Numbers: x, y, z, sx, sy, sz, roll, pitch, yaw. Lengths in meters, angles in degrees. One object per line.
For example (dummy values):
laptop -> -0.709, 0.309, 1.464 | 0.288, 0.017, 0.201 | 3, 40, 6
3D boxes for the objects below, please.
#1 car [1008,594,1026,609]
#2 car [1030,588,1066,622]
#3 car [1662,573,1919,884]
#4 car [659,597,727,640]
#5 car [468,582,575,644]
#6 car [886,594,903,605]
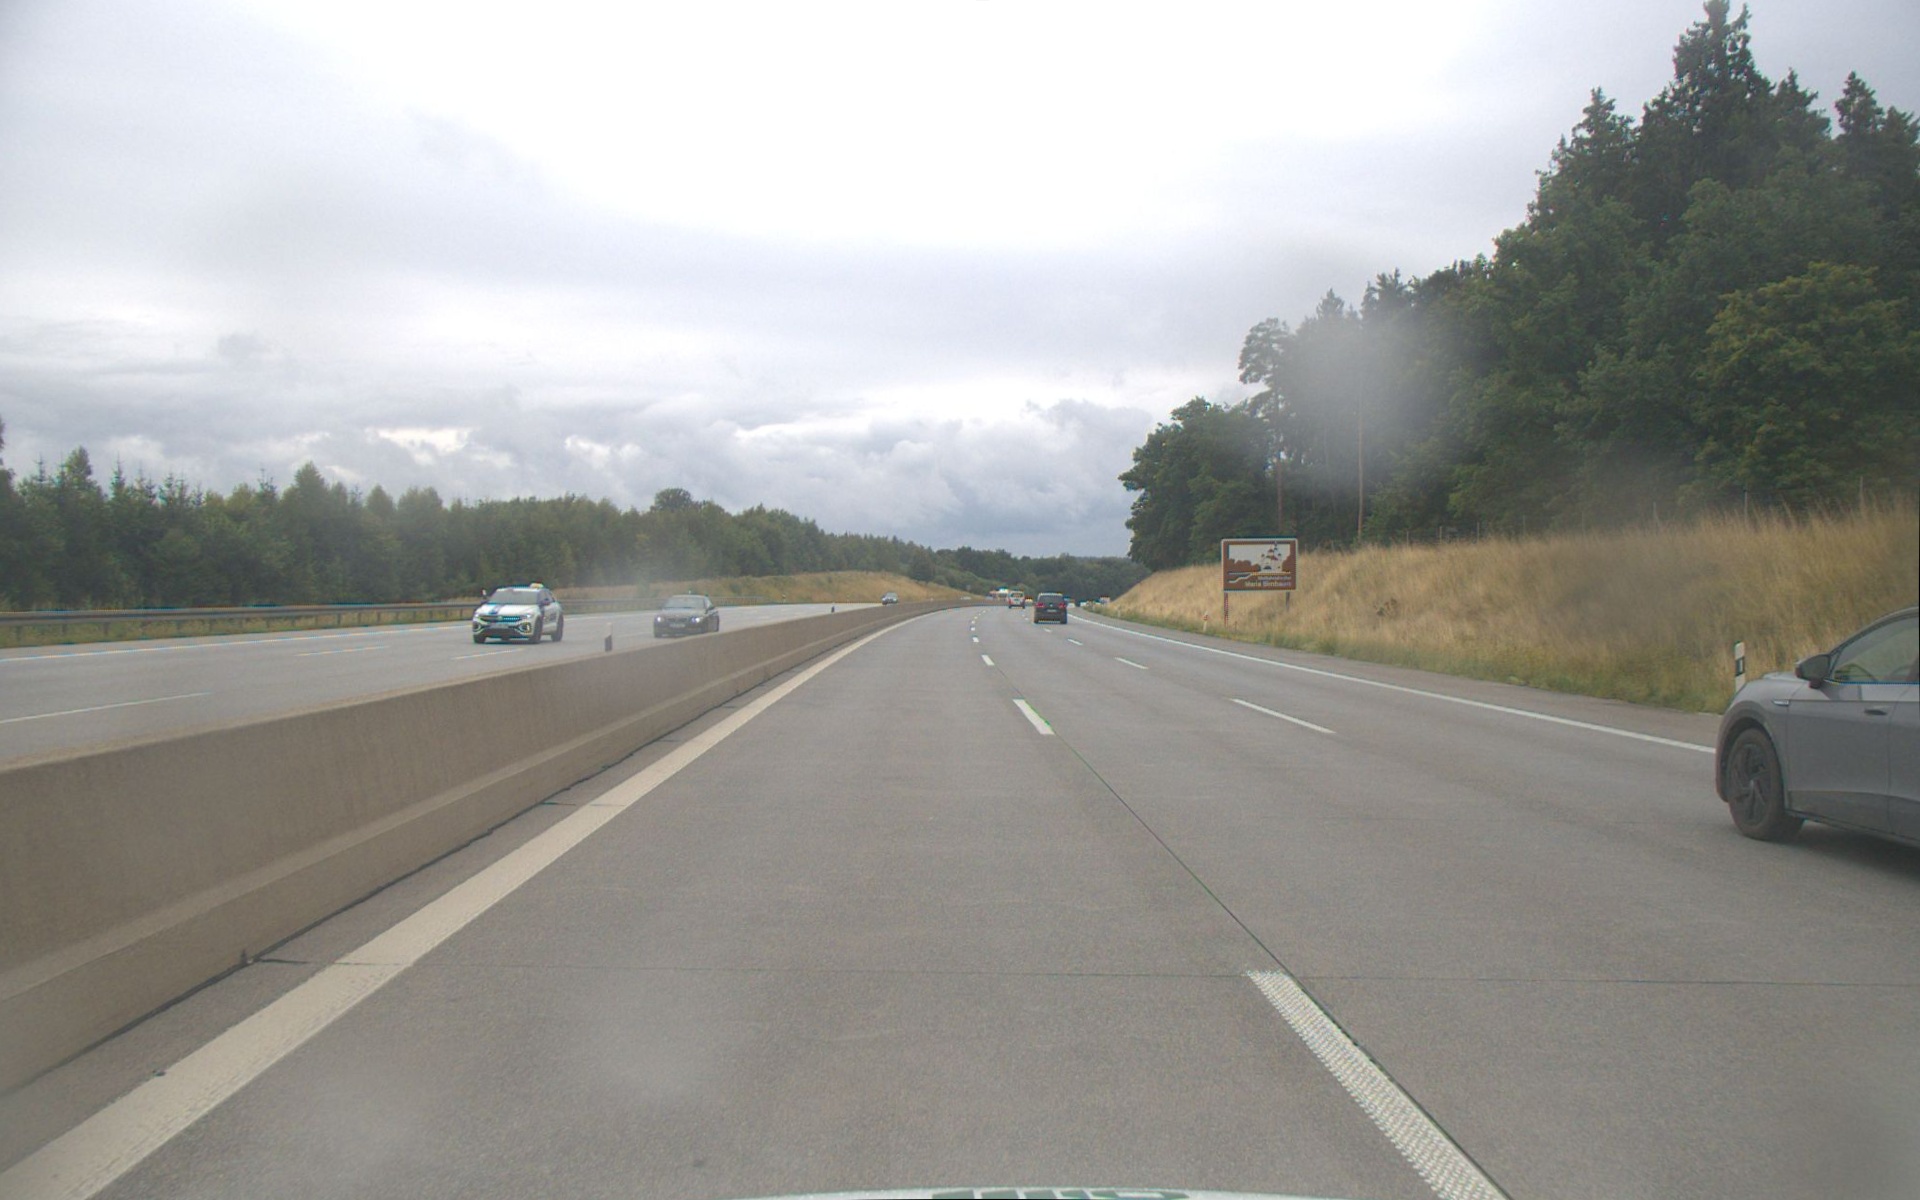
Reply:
car -> 6.608, 0.121, 191.100 | 1.804, 1.526, 4.000 | -2, 2, -1
car -> 5.010, 0.273, 94.285 | 1.749, 1.777, 3.915 | -2, 2, -1
car -> 6.274, 0.726, 9.795 | 1.859, 1.719, 5.265 | 1, 1, -1
car -> -8.935, 0.656, 55.597 | 1.727, 1.289, 4.491 | -1, -2, -2
car -> -12.491, 0.315, 47.421 | 1.726, 1.614, 4.757 | 2, 1, 0
car -> -7.956, -0.072, 201.108 | 1.731, 1.253, 3.955 | 2, 1, 0
